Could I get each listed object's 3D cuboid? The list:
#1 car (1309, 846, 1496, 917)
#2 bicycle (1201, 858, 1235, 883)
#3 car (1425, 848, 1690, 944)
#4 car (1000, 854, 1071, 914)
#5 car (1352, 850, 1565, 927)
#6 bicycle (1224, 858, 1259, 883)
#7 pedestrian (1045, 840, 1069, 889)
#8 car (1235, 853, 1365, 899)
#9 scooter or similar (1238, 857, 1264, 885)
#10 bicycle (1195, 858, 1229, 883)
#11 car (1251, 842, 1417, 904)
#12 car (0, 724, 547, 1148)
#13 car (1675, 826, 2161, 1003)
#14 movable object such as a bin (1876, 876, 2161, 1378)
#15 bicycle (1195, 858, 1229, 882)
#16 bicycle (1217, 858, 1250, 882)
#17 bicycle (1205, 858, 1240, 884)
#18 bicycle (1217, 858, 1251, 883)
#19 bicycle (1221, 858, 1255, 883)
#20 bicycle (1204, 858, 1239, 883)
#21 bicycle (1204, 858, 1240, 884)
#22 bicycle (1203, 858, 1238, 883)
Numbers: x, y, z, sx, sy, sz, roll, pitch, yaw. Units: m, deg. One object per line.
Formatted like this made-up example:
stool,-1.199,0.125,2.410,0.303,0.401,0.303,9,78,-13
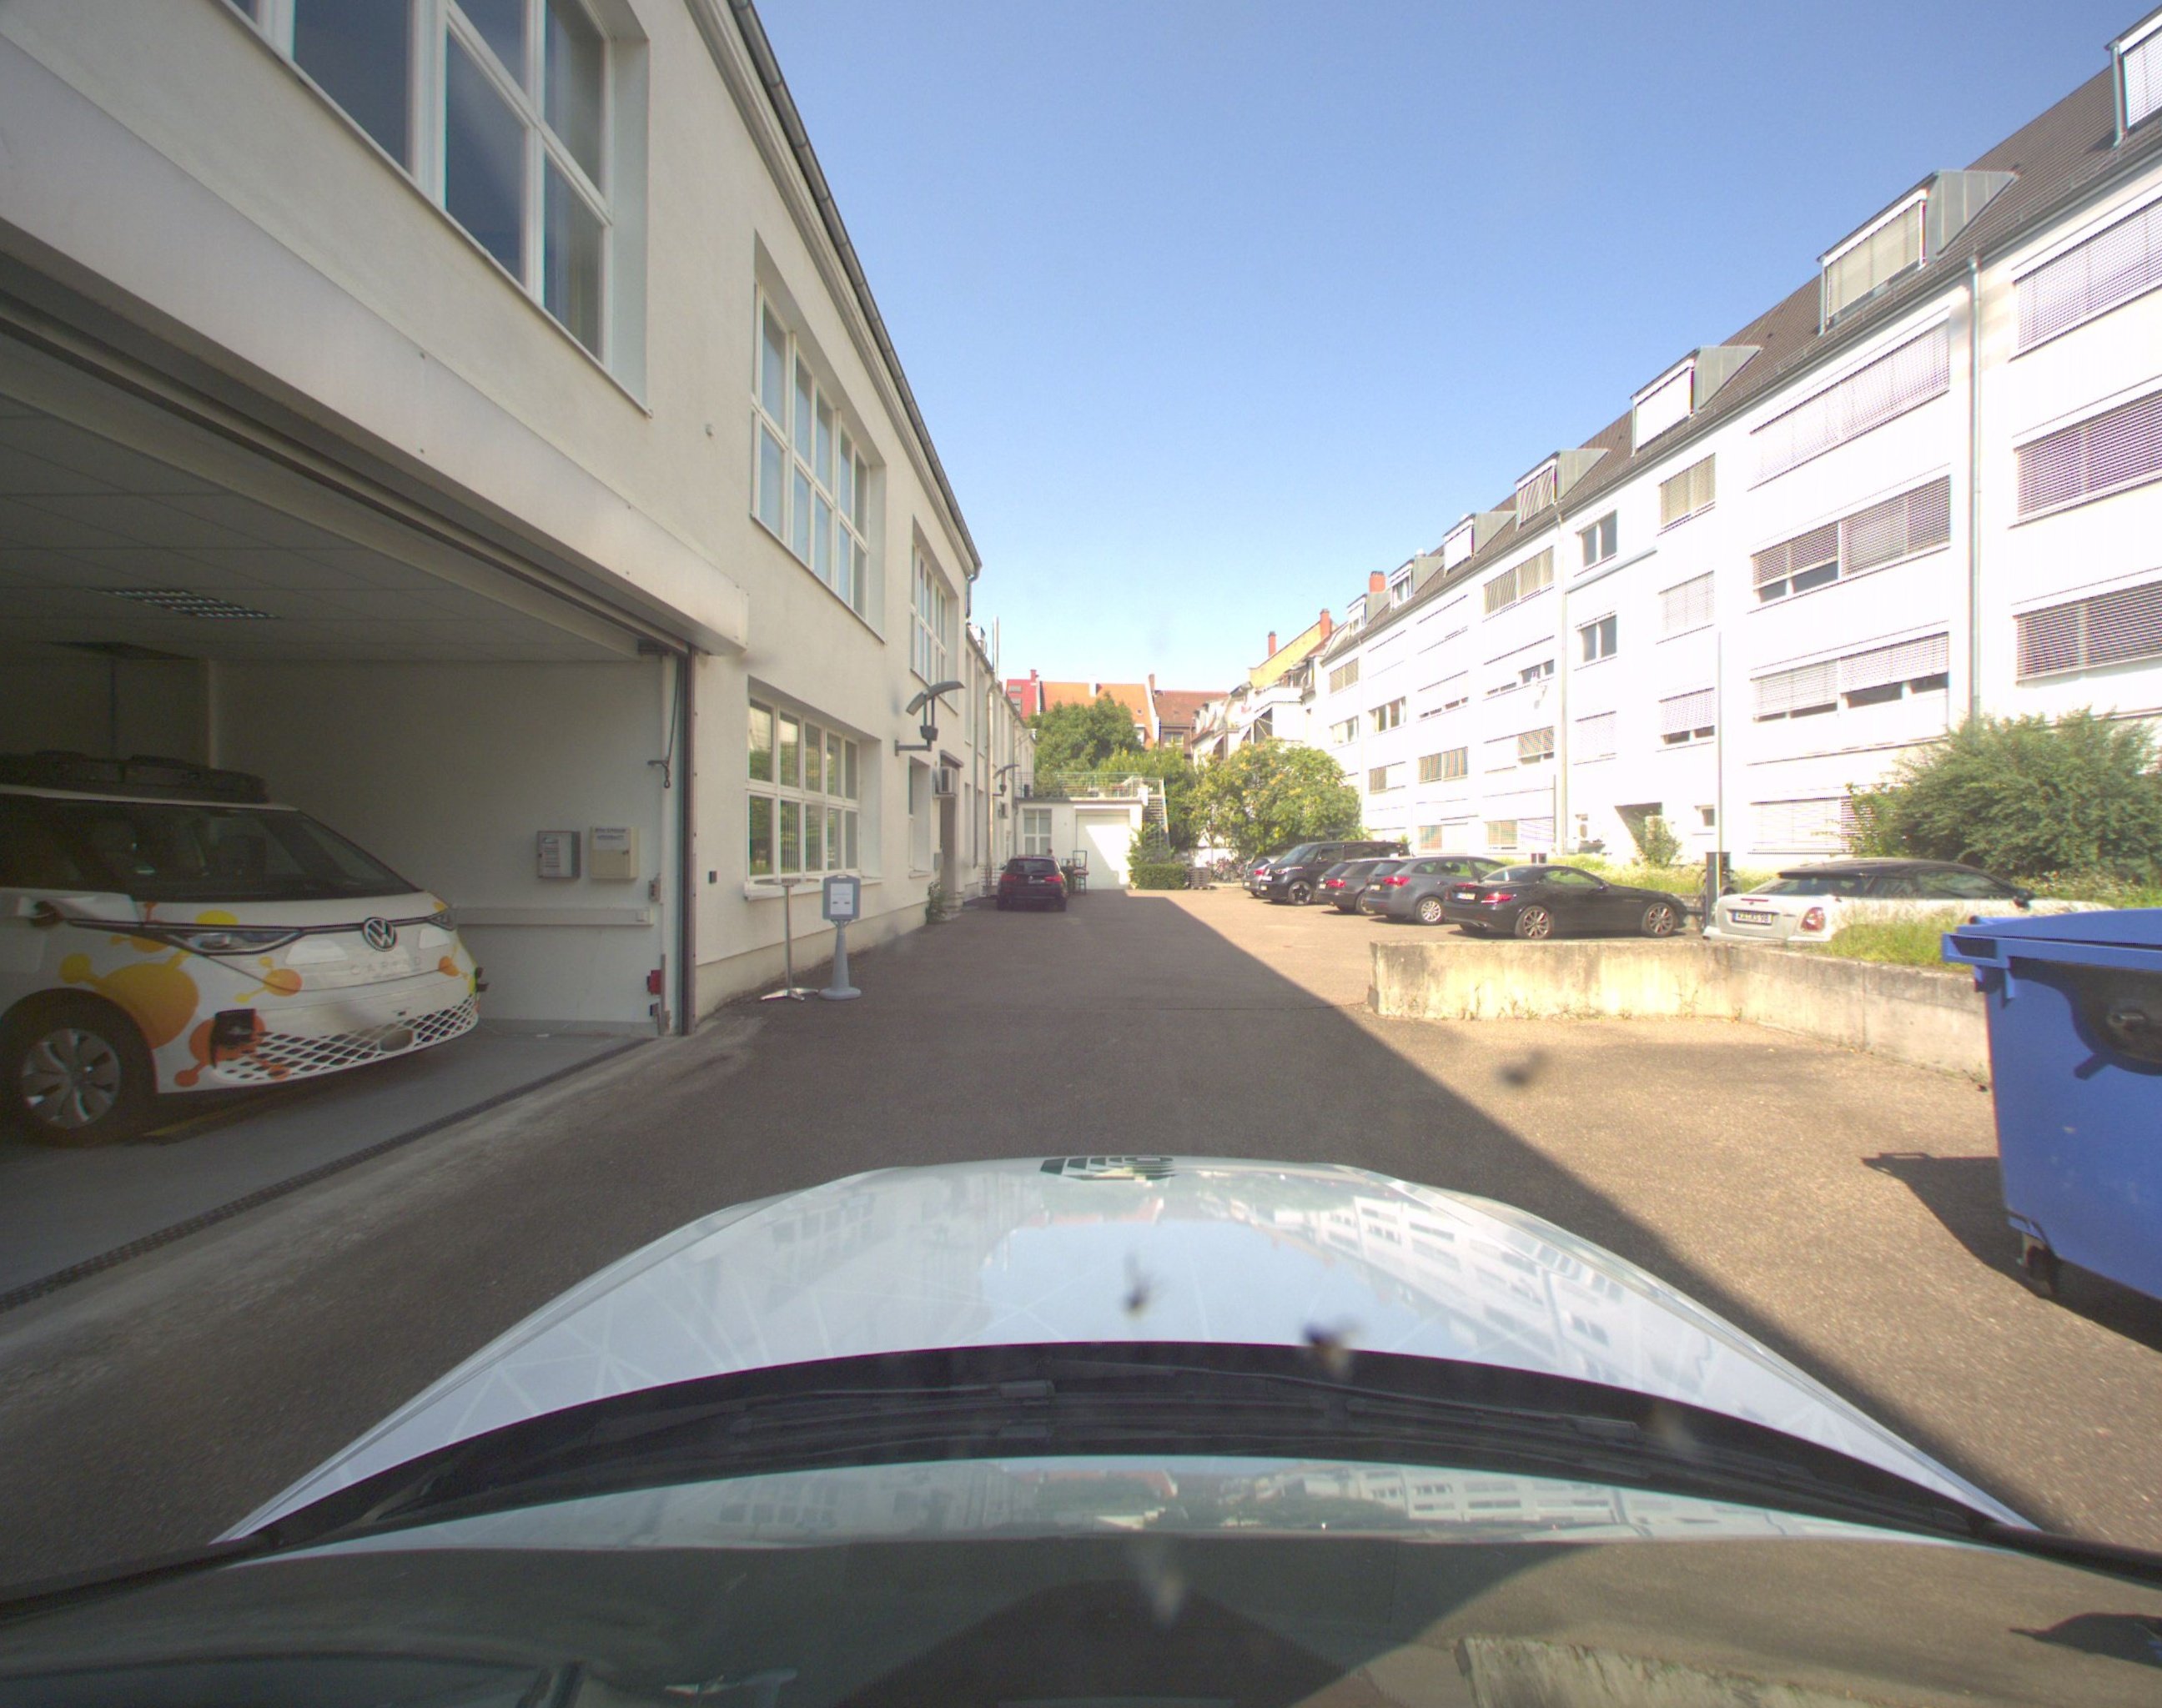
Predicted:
car,8.086,0.682,20.718,4.105,1.692,1.770,0,-1,-2
bicycle,6.713,0.799,39.958,1.611,1.214,0.328,-1,0,14
car,8.487,0.717,14.685,3.797,1.589,1.892,1,-1,-9
car,-1.138,0.743,21.930,1.683,1.459,3.922,0,-1,0
car,8.198,0.735,17.895,3.854,1.589,1.877,0,-1,-4
bicycle,7.778,0.802,39.476,1.611,1.214,0.328,-1,0,16
pedestrian,-0.987,0.418,34.011,0.910,2.014,0.935,0,-1,2
car,7.438,0.738,27.820,3.929,1.482,1.770,0,-1,-8
scooter or similar,7.998,0.798,38.260,0.381,1.261,1.336,-1,0,-30
bicycle,6.545,0.804,40.638,1.617,1.214,0.424,-1,0,0
car,7.688,0.552,24.931,4.497,1.794,1.878,0,-1,-8
car,-6.445,0.385,5.134,4.729,2.093,2.056,1,-1,1
car,9.132,0.613,9.115,3.608,1.545,1.802,-4,-1,-1
movable object such as a bin,3.571,0.749,2.402,1.296,1.340,1.195,0,-1,0
bicycle,6.647,0.811,41.271,1.620,1.214,0.423,-1,0,-5
bicycle,7.870,0.827,41.938,1.611,1.214,0.425,-1,0,13
bicycle,6.753,0.788,38.848,1.616,1.214,0.327,-1,0,2
bicycle,7.699,0.816,40.915,1.611,1.214,0.425,-1,0,13
bicycle,7.784,0.811,40.336,1.611,1.214,0.426,-1,0,14
bicycle,6.732,0.791,39.143,1.616,1.214,0.327,-1,0,2
bicycle,6.678,0.785,38.528,1.616,1.214,0.327,-1,0,2
bicycle,6.781,0.796,39.593,1.612,1.214,0.328,-1,0,11
